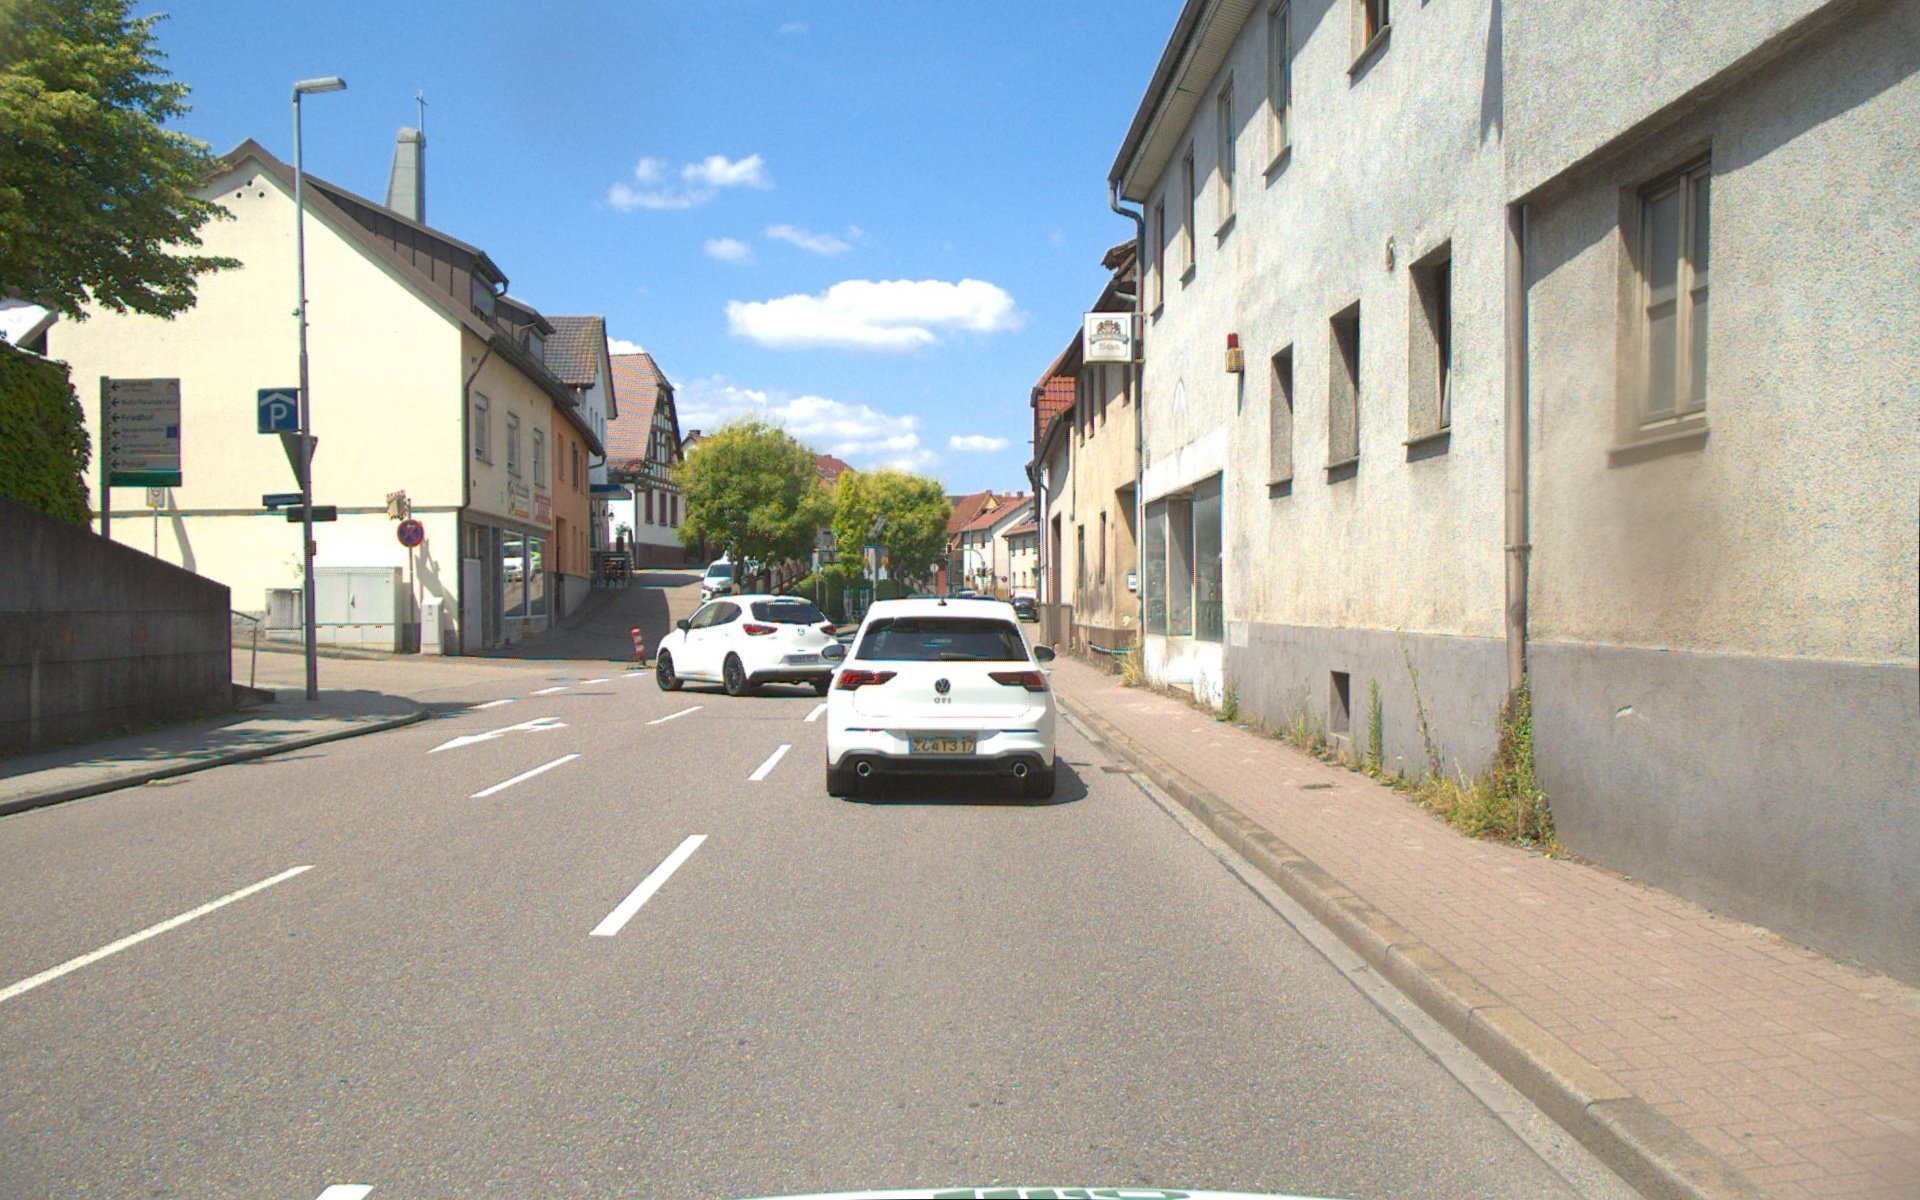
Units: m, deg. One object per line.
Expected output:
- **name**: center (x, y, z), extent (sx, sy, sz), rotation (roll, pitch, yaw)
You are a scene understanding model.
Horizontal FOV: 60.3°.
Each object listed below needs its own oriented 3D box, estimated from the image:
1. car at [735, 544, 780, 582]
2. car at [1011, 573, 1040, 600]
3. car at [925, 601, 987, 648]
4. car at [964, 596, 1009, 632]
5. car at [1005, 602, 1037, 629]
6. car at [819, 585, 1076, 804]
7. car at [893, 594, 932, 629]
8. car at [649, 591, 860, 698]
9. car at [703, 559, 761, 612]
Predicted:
- **car**: center (-8.926, -1.662, 73.113), extent (1.544, 1.385, 3.857), rotation (0, 6, -1)
- **car**: center (4.536, -0.894, 113.707), extent (1.738, 1.796, 4.003), rotation (0, 0, 5)
- **car**: center (-0.086, 0.800, 55.931), extent (1.770, 1.493, 4.002), rotation (1, 0, 4)
- **car**: center (1.222, 0.615, 74.475), extent (1.738, 1.565, 4.002), rotation (0, 0, 5)
- **car**: center (3.605, 0.894, 97.800), extent (1.738, 1.565, 4.002), rotation (0, 0, 4)
- **car**: center (-0.059, 0.668, 13.578), extent (1.770, 1.493, 4.000), rotation (1, 0, 1)
- **car**: center (-2.353, 0.555, 82.721), extent (1.721, 1.664, 4.050), rotation (-1, 0, 1)
- **car**: center (-3.243, 0.638, 25.466), extent (1.789, 1.493, 3.958), rotation (2, 0, -31)
- **car**: center (-8.362, -0.562, 60.936), extent (1.659, 1.569, 3.857), rotation (0, 6, -1)
